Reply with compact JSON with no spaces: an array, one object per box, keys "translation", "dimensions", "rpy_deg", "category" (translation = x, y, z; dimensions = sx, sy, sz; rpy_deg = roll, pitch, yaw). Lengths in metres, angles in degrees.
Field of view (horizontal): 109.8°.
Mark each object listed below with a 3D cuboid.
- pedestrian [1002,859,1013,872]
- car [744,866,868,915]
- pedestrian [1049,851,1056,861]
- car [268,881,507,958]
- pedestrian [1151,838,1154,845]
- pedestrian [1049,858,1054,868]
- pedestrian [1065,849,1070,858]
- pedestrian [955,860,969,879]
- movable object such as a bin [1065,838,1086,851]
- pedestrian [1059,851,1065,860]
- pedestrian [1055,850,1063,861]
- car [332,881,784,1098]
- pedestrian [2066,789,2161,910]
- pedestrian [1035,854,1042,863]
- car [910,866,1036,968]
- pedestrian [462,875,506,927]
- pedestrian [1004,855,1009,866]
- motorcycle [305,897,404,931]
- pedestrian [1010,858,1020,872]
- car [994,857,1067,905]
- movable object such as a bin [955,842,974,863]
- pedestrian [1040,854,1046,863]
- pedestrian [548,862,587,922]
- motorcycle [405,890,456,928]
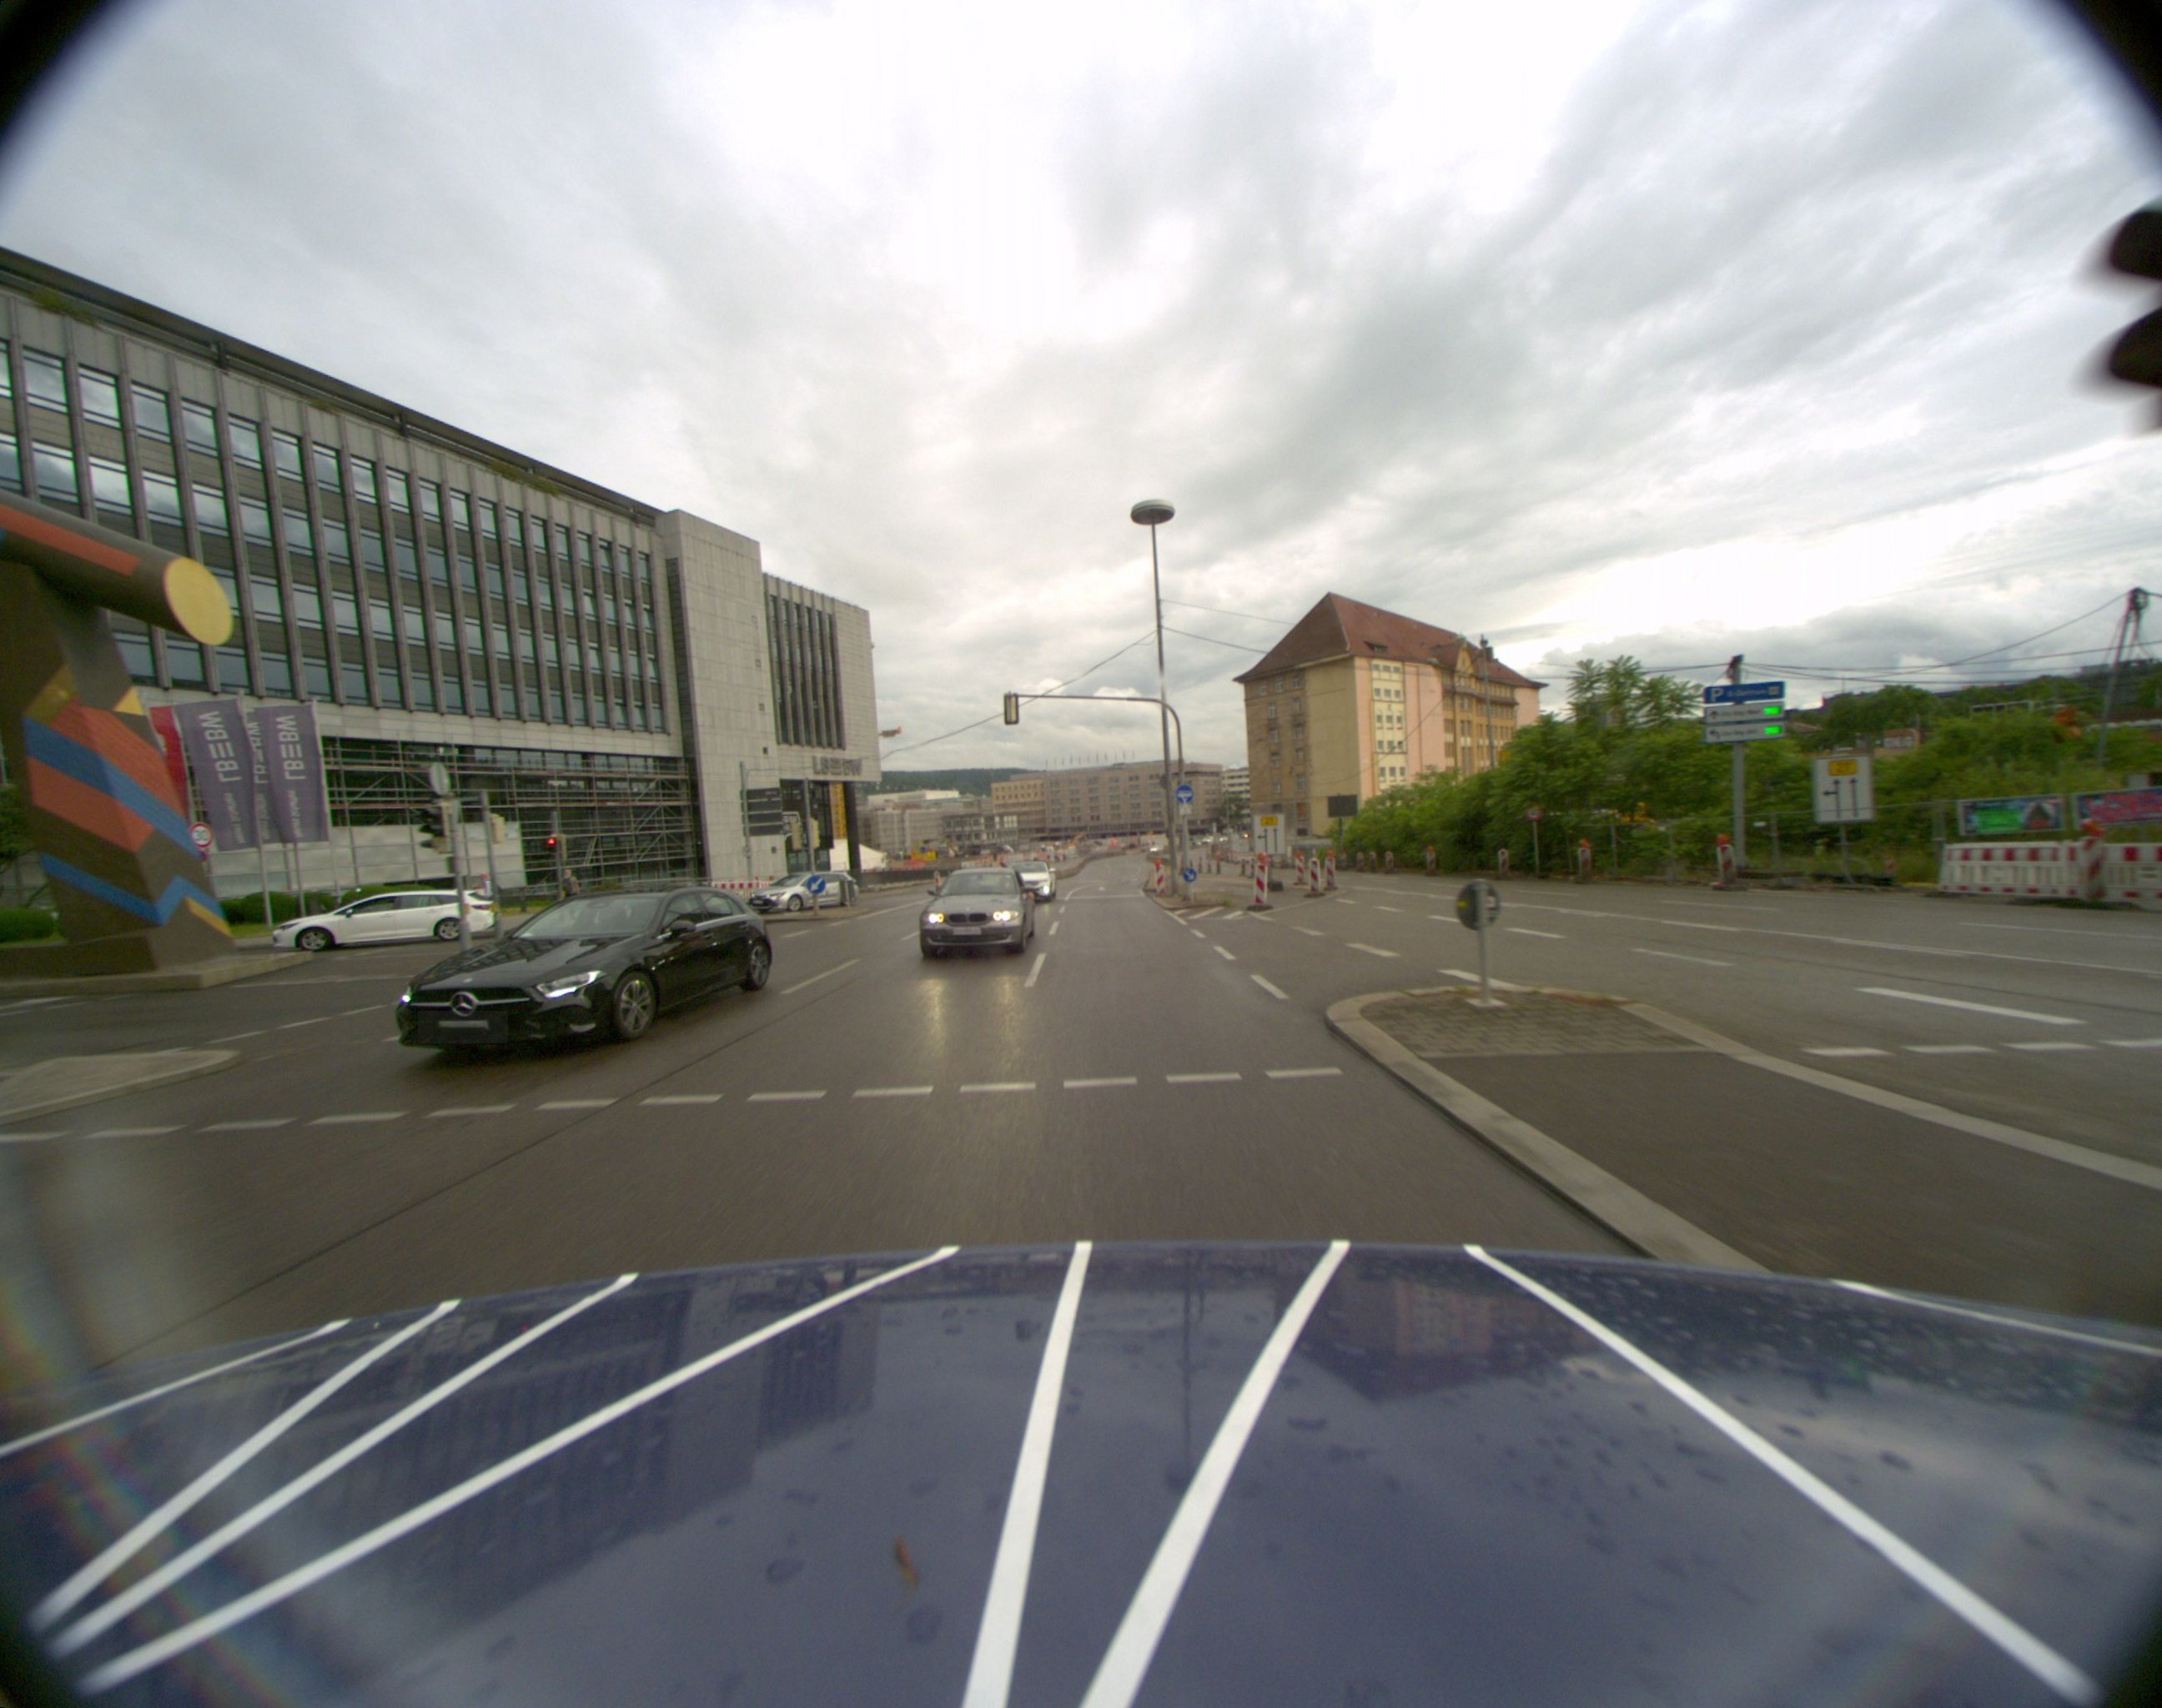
[{"translation":[-8.833,1.382,91.694],"dimensions":[0.861,1.585,0.953],"rpy_deg":[-2,3,29],"category":"pedestrian"},{"translation":[-10.484,1.360,29.372],"dimensions":[1.702,1.443,4.621],"rpy_deg":[-3,1,23],"category":"car"},{"translation":[-5.238,0.376,137.857],"dimensions":[0.867,1.808,1.009],"rpy_deg":[-2,3,21],"category":"pedestrian"},{"translation":[-18.977,1.717,21.125],"dimensions":[4.587,1.624,1.773],"rpy_deg":[-3,0,-32],"category":"car"},{"translation":[17.479,-3.015,185.804],"dimensions":[0.654,1.682,0.776],"rpy_deg":[0,4,26],"category":"pedestrian"},{"translation":[-4.648,1.410,120.933],"dimensions":[0.648,1.624,0.907],"rpy_deg":[-3,3,2],"category":"pedestrian"},{"translation":[-2.613,-0.043,143.589],"dimensions":[0.745,1.697,0.687],"rpy_deg":[-1,3,15],"category":"pedestrian"},{"translation":[-11.126,1.434,71.165],"dimensions":[0.730,1.643,1.062],"rpy_deg":[-2,2,29],"category":"pedestrian"},{"translation":[-1.312,-2.160,172.423],"dimensions":[4.134,2.522,1.995],"rpy_deg":[-5,3,-33],"category":"movable object such as a bin"},{"translation":[-3.569,0.277,143.915],"dimensions":[0.647,1.545,0.767],"rpy_deg":[-1,4,38],"category":"pedestrian"},{"translation":[-4.114,0.268,142.114],"dimensions":[0.818,1.839,0.933],"rpy_deg":[-1,4,38],"category":"pedestrian"},{"translation":[-4.961,1.154,8.126],"dimensions":[1.759,1.399,4.227],"rpy_deg":[-3,1,1],"category":"car"},{"translation":[17.299,-0.087,12.671],"dimensions":[0.762,1.912,0.742],"rpy_deg":[-3,3,4],"category":"pedestrian"},{"translation":[-7.129,0.757,127.676],"dimensions":[0.715,1.545,1.009],"rpy_deg":[-2,3,21],"category":"pedestrian"},{"translation":[-1.795,1.017,13.812],"dimensions":[1.744,1.435,3.999],"rpy_deg":[-2,0,-1],"category":"car"},{"translation":[-20.946,1.641,26.679],"dimensions":[0.731,1.702,0.843],"rpy_deg":[-3,3,1],"category":"pedestrian"},{"translation":[-12.247,1.016,125.012],"dimensions":[0.567,1.738,0.495],"rpy_deg":[-2,3,20],"category":"pedestrian"},{"translation":[-24.500,2.012,25.653],"dimensions":[2.571,1.074,0.634],"rpy_deg":[0,0,-6],"category":"motorcycle"},{"translation":[-7.976,1.336,91.552],"dimensions":[0.732,1.566,0.806],"rpy_deg":[-3,3,29],"category":"pedestrian"},{"translation":[-1.817,0.968,28.748],"dimensions":[1.968,1.539,4.220],"rpy_deg":[-3,0,6],"category":"car"},{"translation":[-20.835,-0.260,135.951],"dimensions":[1.941,3.390,4.231],"rpy_deg":[-3,3,9],"category":"movable object such as a bin"},{"translation":[-6.319,0.712,127.814],"dimensions":[0.609,1.514,0.886],"rpy_deg":[-2,3,21],"category":"pedestrian"},{"translation":[-19.006,1.387,28.128],"dimensions":[0.856,2.086,0.903],"rpy_deg":[-6,1,-22],"category":"pedestrian"},{"translation":[-23.667,1.995,27.660],"dimensions":[1.244,1.263,0.619],"rpy_deg":[-2,1,-6],"category":"motorcycle"}]
